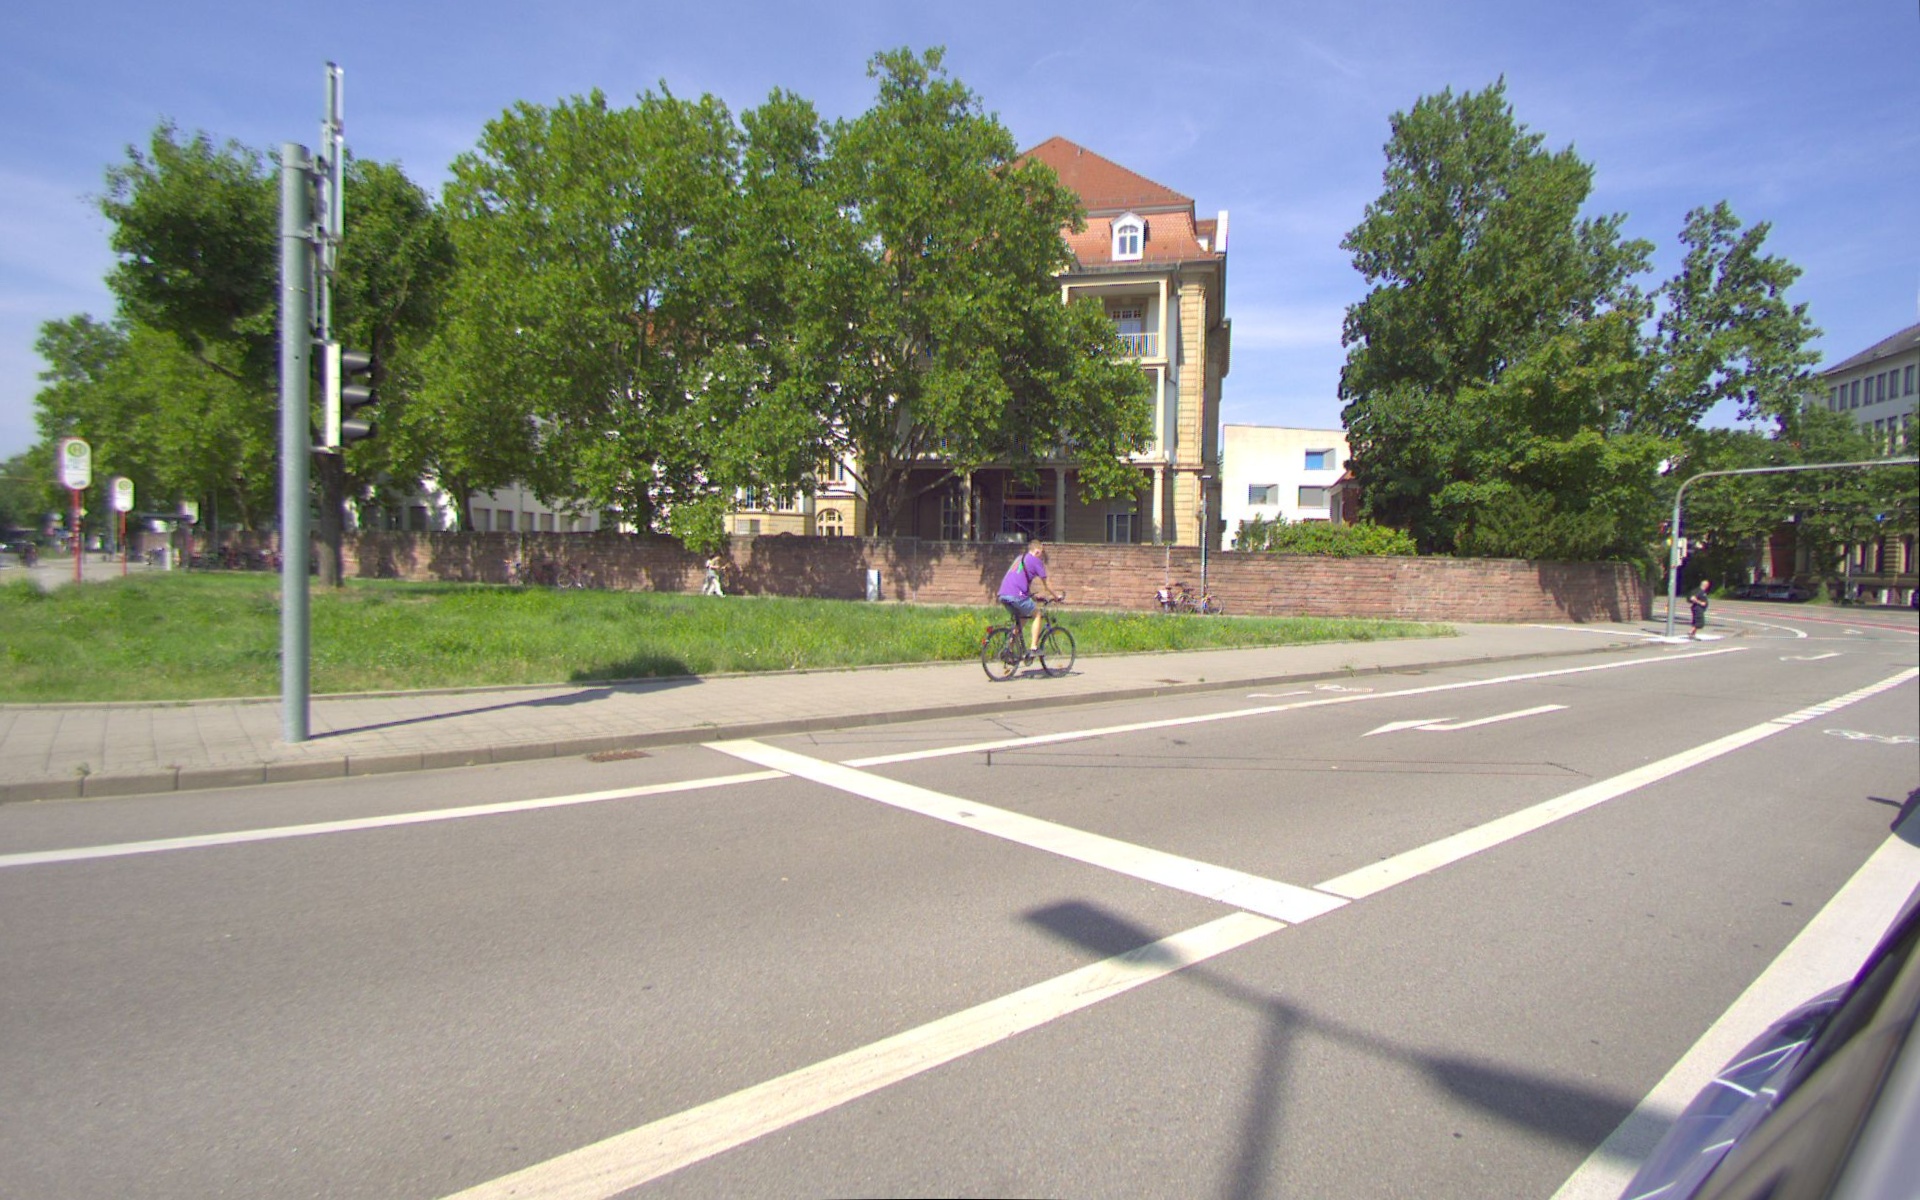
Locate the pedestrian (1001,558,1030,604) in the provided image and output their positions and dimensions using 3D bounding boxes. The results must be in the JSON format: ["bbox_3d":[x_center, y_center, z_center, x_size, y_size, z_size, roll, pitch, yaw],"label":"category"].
[{"bbox_3d":[1.909,-0.660,34.815,0.900,1.567,0.501,2,2,13],"label":"pedestrian"}]

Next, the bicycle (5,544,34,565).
[{"bbox_3d":[-60.633,-2.930,65.266,0.832,1.233,3.485,-1,1,-35],"label":"bicycle"}]

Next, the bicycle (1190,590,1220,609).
[{"bbox_3d":[8.284,-0.002,34.226,0.929,0.609,0.275,1,2,-2],"label":"bicycle"}]

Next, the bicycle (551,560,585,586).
[{"bbox_3d":[-16.358,-1.128,42.216,1.432,1.046,0.444,3,2,24],"label":"bicycle"}]

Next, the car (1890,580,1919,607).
[{"bbox_3d":[64.016,-0.451,66.331,3.942,1.682,1.992,0,3,15],"label":"car"}]

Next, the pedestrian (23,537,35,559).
[{"bbox_3d":[-62.631,-3.475,68.094,0.550,1.457,0.731,0,3,-42],"label":"pedestrian"}]

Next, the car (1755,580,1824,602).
[{"bbox_3d":[69.487,-0.753,84.830,3.941,1.682,1.993,0,3,14],"label":"car"}]

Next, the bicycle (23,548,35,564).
[{"bbox_3d":[-62.678,-2.948,68.154,0.550,1.064,1.322,0,3,-42],"label":"bicycle"}]

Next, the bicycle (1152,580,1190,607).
[{"bbox_3d":[7.112,-0.211,34.131,1.202,0.894,0.395,1,2,-21],"label":"bicycle"}]

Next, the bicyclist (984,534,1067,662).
[{"bbox_3d":[0.890,-0.041,13.607,1.067,1.657,0.487,-1,3,-44],"label":"bicyclist"}]

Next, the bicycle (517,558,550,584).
[{"bbox_3d":[-18.121,-1.234,43.000,1.432,1.046,0.444,3,2,24],"label":"bicycle"}]

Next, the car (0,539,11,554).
[{"bbox_3d":[-139.214,-7.753,146.898,3.987,2.039,1.969,0,1,44],"label":"car"}]

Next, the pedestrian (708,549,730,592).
[{"bbox_3d":[-9.134,-1.127,38.383,0.700,1.597,0.516,3,3,41],"label":"pedestrian"}]

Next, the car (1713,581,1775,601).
[{"bbox_3d":[71.055,-0.801,91.792,3.943,1.682,1.992,0,3,16],"label":"car"}]

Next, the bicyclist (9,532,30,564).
[{"bbox_3d":[-60.655,-3.349,65.259,0.763,2.039,1.274,-1,0,-34],"label":"bicyclist"}]

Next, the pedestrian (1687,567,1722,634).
[{"bbox_3d":[23.129,0.009,31.442,0.790,2.038,0.608,2,2,35],"label":"pedestrian"}]

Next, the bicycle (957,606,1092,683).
[{"bbox_3d":[0.896,0.560,13.633,1.900,0.898,0.684,-1,3,-43],"label":"bicycle"}]

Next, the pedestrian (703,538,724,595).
[{"bbox_3d":[-8.941,-1.214,36.740,0.586,2.038,0.522,1,2,8],"label":"pedestrian"}]
